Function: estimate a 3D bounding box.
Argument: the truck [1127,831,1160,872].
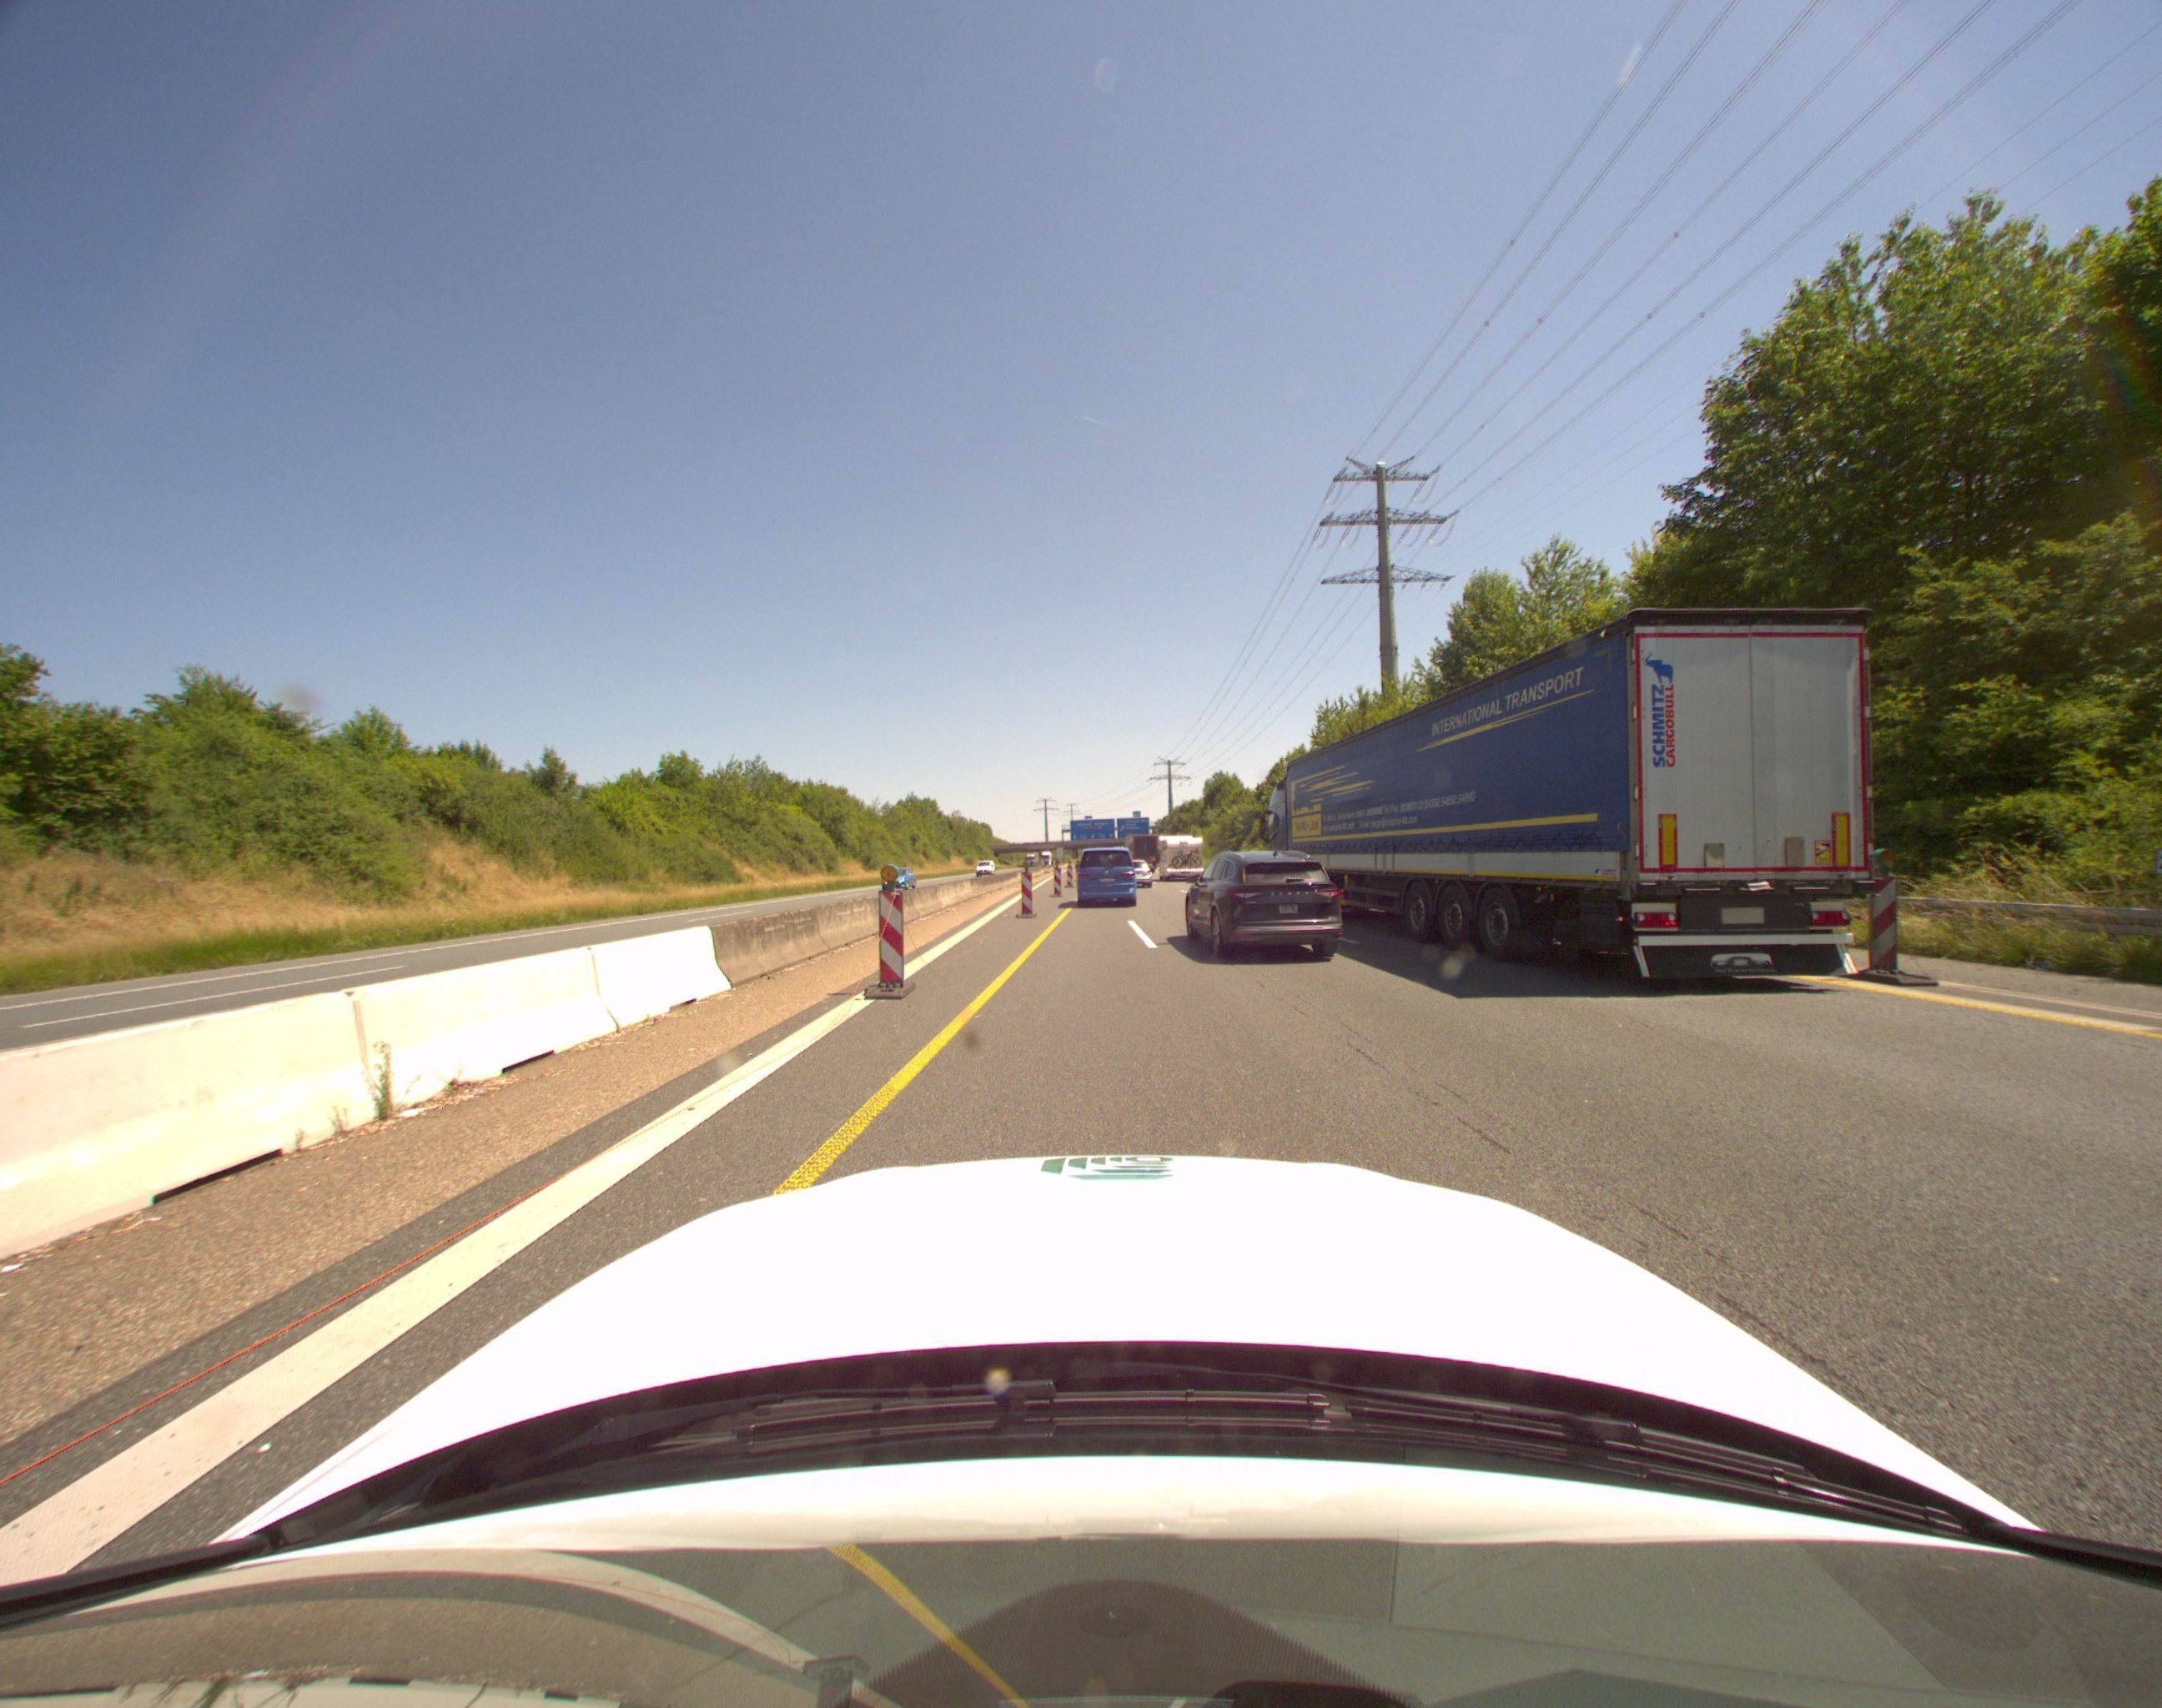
[{"bbox_3d":[6.709,-0.209,89.353,3.066,4.146,13.059,0,0,2],"label":"truck"}]

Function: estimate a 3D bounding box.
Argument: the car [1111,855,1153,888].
[{"bbox_3d":[2.611,0.882,42.676,1.890,1.509,4.442,1,1,0],"label":"car"}]

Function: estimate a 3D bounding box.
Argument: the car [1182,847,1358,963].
[{"bbox_3d":[2.900,0.707,13.538,1.890,1.592,4.441,0,0,0],"label":"car"}]

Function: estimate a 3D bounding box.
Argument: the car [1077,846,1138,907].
[{"bbox_3d":[0.806,0.729,27.242,1.890,1.841,4.441,0,-1,0],"label":"car"}]

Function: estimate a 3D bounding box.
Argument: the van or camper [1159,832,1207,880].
[{"bbox_3d":[6.589,0.153,53.488,2.577,2.968,6.087,-1,0,2],"label":"van or camper"}]

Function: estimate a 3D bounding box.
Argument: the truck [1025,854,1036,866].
[{"bbox_3d":[-14.461,1.699,233.222,2.456,3.288,6.924,-3,0,0],"label":"truck"}]

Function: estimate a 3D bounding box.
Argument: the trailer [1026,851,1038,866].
[{"bbox_3d":[-14.400,1.302,241.105,2.472,4.180,12.084,-2,0,0],"label":"trailer"}]

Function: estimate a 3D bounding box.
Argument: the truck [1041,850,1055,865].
[{"bbox_3d":[-9.722,1.039,241.024,3.151,4.224,7.419,-2,-1,2],"label":"truck"}]

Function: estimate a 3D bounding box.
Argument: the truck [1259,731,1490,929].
[{"bbox_3d":[7.000,-0.491,20.939,3.015,4.087,7.792,-1,0,-1],"label":"truck"}]

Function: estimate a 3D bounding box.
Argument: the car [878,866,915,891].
[{"bbox_3d":[-12.361,1.606,54.722,1.887,1.517,3.473,-2,0,-5],"label":"car"}]

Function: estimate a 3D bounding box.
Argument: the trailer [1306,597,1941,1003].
[{"bbox_3d":[7.086,-0.530,13.975,3.056,4.042,11.482,-1,0,-1],"label":"trailer"}]

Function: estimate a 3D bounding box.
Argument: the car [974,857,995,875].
[{"bbox_3d":[-11.844,1.507,100.215,1.957,2.085,4.937,-2,0,0],"label":"car"}]
